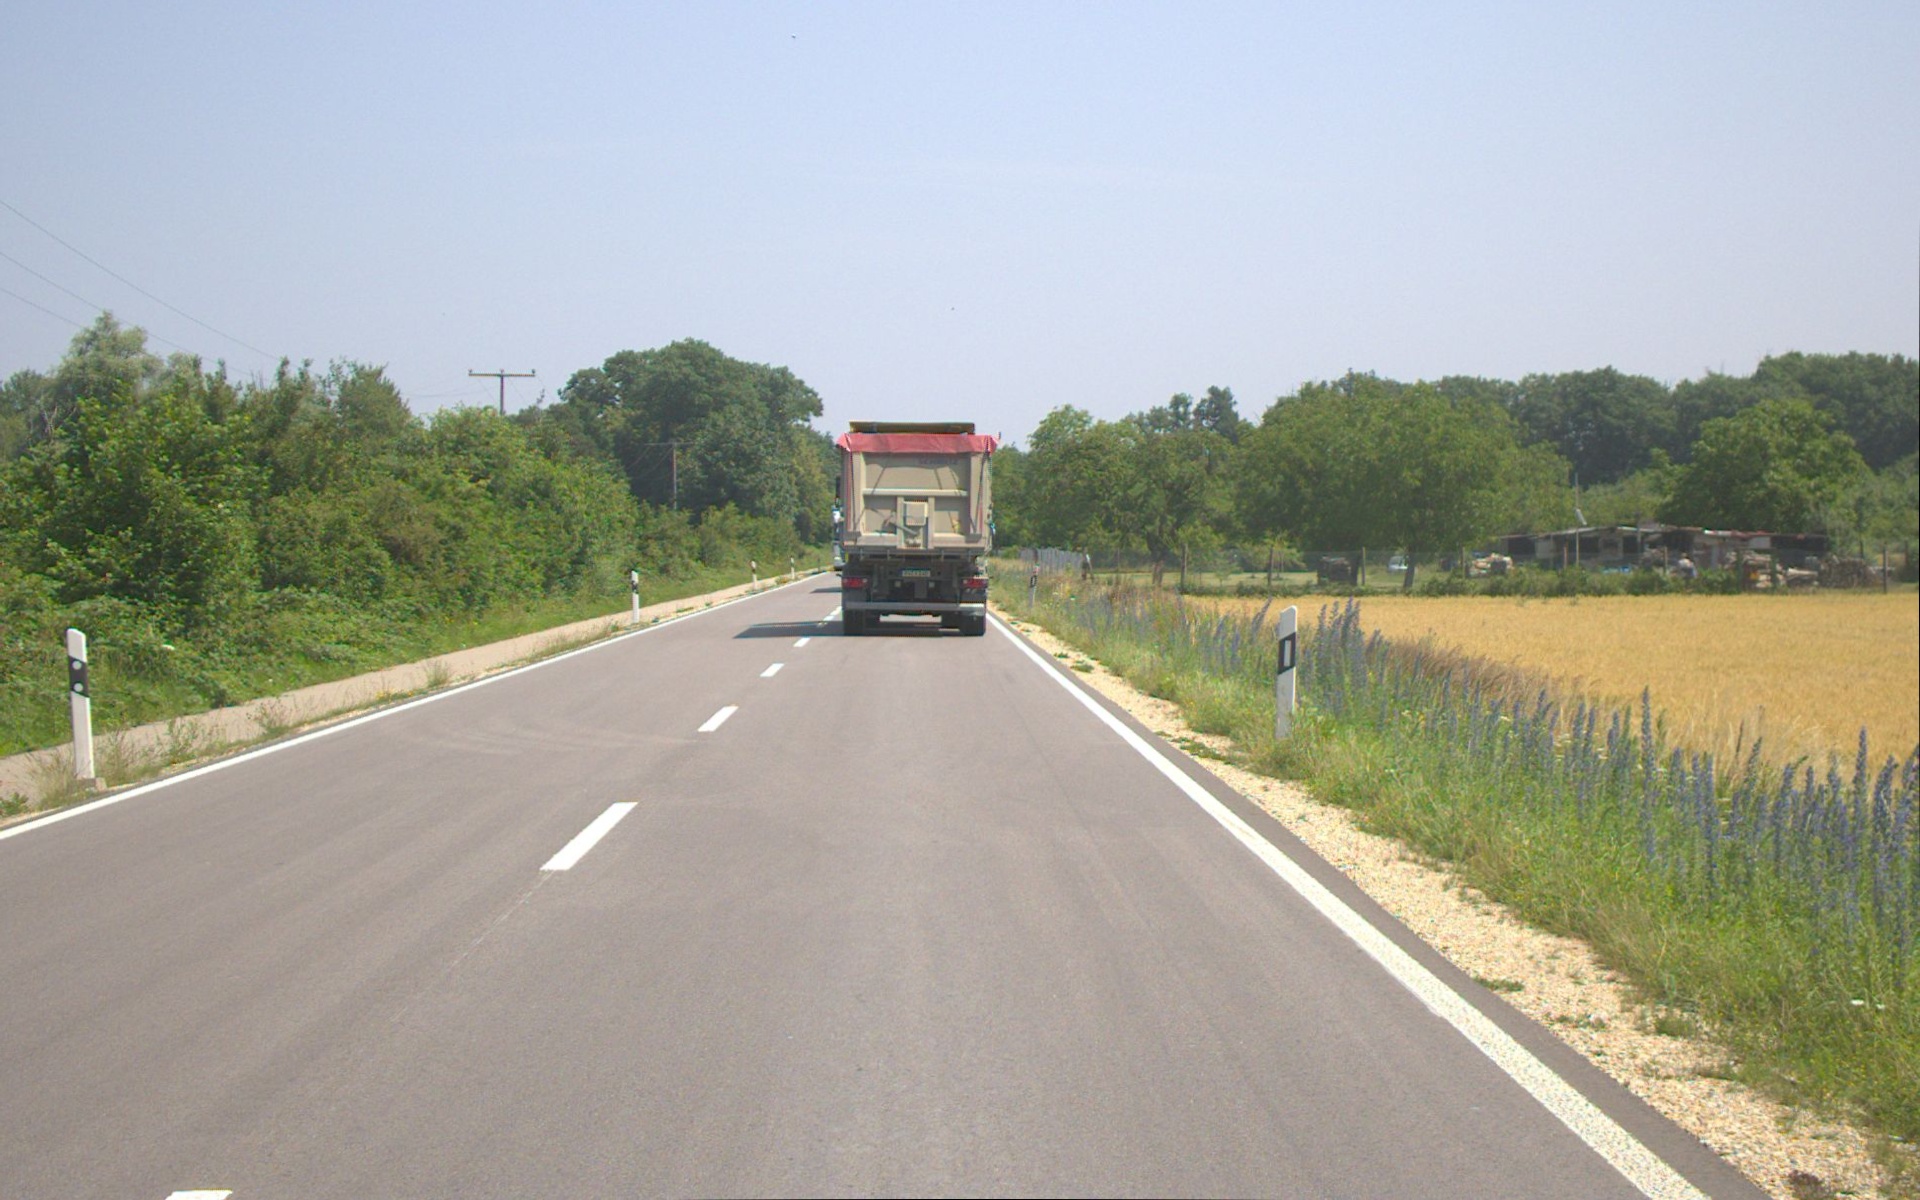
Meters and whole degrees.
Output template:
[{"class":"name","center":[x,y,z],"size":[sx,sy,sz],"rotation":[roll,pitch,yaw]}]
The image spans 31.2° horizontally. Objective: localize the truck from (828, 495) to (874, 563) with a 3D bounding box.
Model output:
[{"class":"truck","center":[-7.008,-4.590,222.016],"size":[2.717,4.251,7.390],"rotation":[-2,1,-1]}]

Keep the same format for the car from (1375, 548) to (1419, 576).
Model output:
[{"class":"car","center":[24.492,-2.143,192.850],"size":[1.592,1.481,3.429],"rotation":[0,2,-9]}]

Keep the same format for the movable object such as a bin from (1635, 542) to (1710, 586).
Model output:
[{"class":"movable object such as a bin","center":[24.835,-1.265,119.933],"size":[1.570,1.491,3.660],"rotation":[0,1,-5]}]

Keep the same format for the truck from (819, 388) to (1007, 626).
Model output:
[{"class":"truck","center":[-0.874,-1.602,63.086],"size":[3.009,3.861,12.210],"rotation":[2,1,-1]}]
